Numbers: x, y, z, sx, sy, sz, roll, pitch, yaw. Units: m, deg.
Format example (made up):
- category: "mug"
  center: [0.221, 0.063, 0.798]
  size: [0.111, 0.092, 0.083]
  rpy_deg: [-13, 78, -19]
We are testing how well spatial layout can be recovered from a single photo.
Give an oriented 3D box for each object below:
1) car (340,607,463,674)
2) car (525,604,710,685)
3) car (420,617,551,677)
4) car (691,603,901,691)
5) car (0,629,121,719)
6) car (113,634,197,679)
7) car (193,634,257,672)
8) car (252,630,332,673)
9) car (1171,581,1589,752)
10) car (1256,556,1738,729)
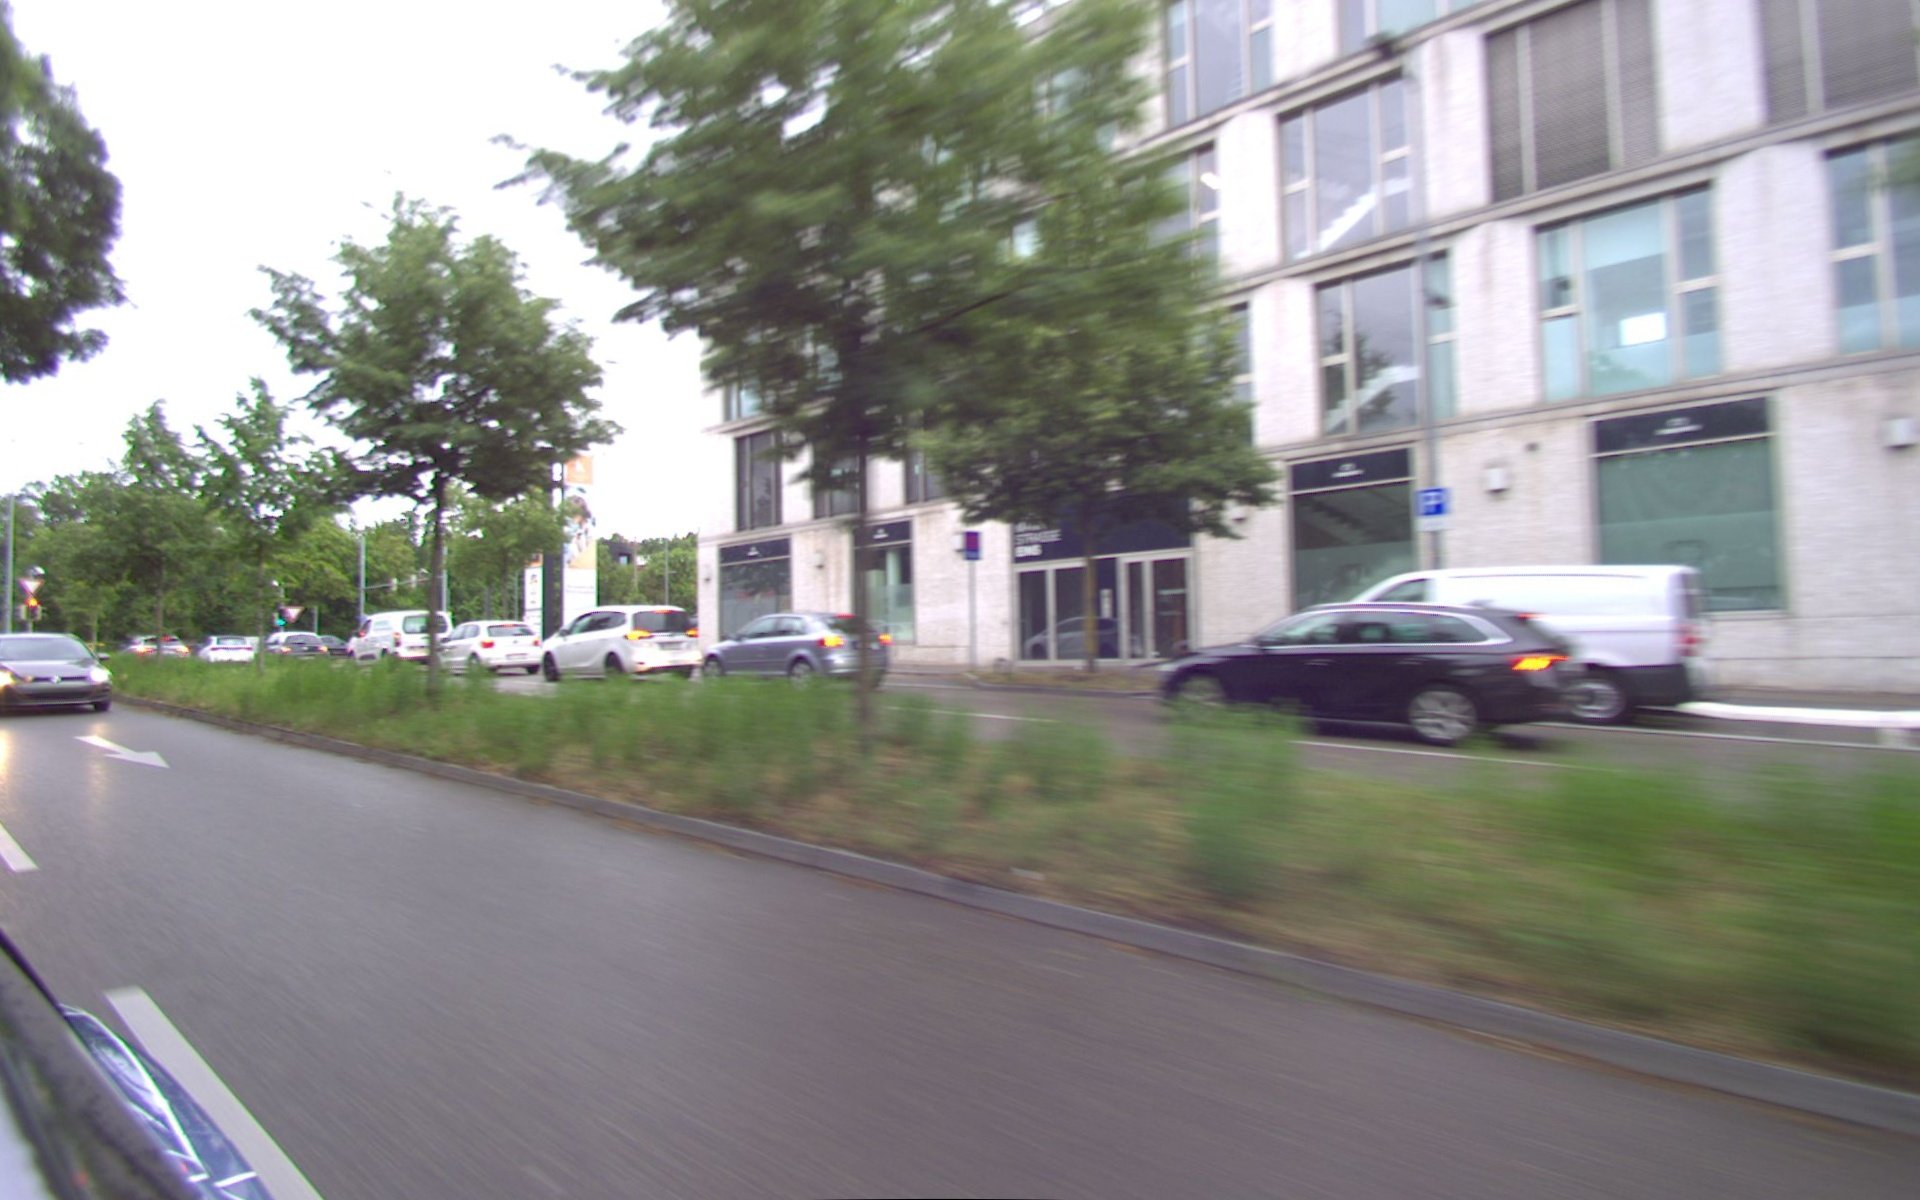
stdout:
- category: "car"
  center: [-17.200, 1.274, 31.051]
  size: [4.771, 1.816, 1.824]
  rpy_deg: [-5, -3, 42]
- category: "car"
  center: [-7.639, 0.943, 22.350]
  size: [4.672, 1.613, 1.810]
  rpy_deg: [-1, -2, 42]
- category: "car"
  center: [-12.771, 1.246, 27.130]
  size: [4.059, 1.479, 1.725]
  rpy_deg: [-2, -3, 42]
- category: "car"
  center: [-3.050, 0.875, 18.395]
  size: [3.994, 1.422, 1.624]
  rpy_deg: [-3, -4, 41]
- category: "car"
  center: [-17.333, 1.312, 19.042]
  size: [4.000, 1.450, 1.879]
  rpy_deg: [-1, 0, 43]
- category: "car"
  center: [-31.753, 2.250, 39.896]
  size: [4.161, 1.587, 1.830]
  rpy_deg: [-5, -4, 40]
- category: "car"
  center: [-33.178, 2.421, 45.656]
  size: [3.702, 1.588, 1.632]
  rpy_deg: [-5, -5, 43]
- category: "car"
  center: [-25.240, 1.964, 38.209]
  size: [3.750, 1.471, 1.696]
  rpy_deg: [-5, -5, 43]
- category: "car"
  center: [4.577, 0.647, 11.383]
  size: [4.016, 1.593, 1.677]
  rpy_deg: [-1, -1, 42]
- category: "car"
  center: [6.824, 0.514, 13.269]
  size: [5.256, 1.829, 2.100]
  rpy_deg: [-1, -2, 40]
